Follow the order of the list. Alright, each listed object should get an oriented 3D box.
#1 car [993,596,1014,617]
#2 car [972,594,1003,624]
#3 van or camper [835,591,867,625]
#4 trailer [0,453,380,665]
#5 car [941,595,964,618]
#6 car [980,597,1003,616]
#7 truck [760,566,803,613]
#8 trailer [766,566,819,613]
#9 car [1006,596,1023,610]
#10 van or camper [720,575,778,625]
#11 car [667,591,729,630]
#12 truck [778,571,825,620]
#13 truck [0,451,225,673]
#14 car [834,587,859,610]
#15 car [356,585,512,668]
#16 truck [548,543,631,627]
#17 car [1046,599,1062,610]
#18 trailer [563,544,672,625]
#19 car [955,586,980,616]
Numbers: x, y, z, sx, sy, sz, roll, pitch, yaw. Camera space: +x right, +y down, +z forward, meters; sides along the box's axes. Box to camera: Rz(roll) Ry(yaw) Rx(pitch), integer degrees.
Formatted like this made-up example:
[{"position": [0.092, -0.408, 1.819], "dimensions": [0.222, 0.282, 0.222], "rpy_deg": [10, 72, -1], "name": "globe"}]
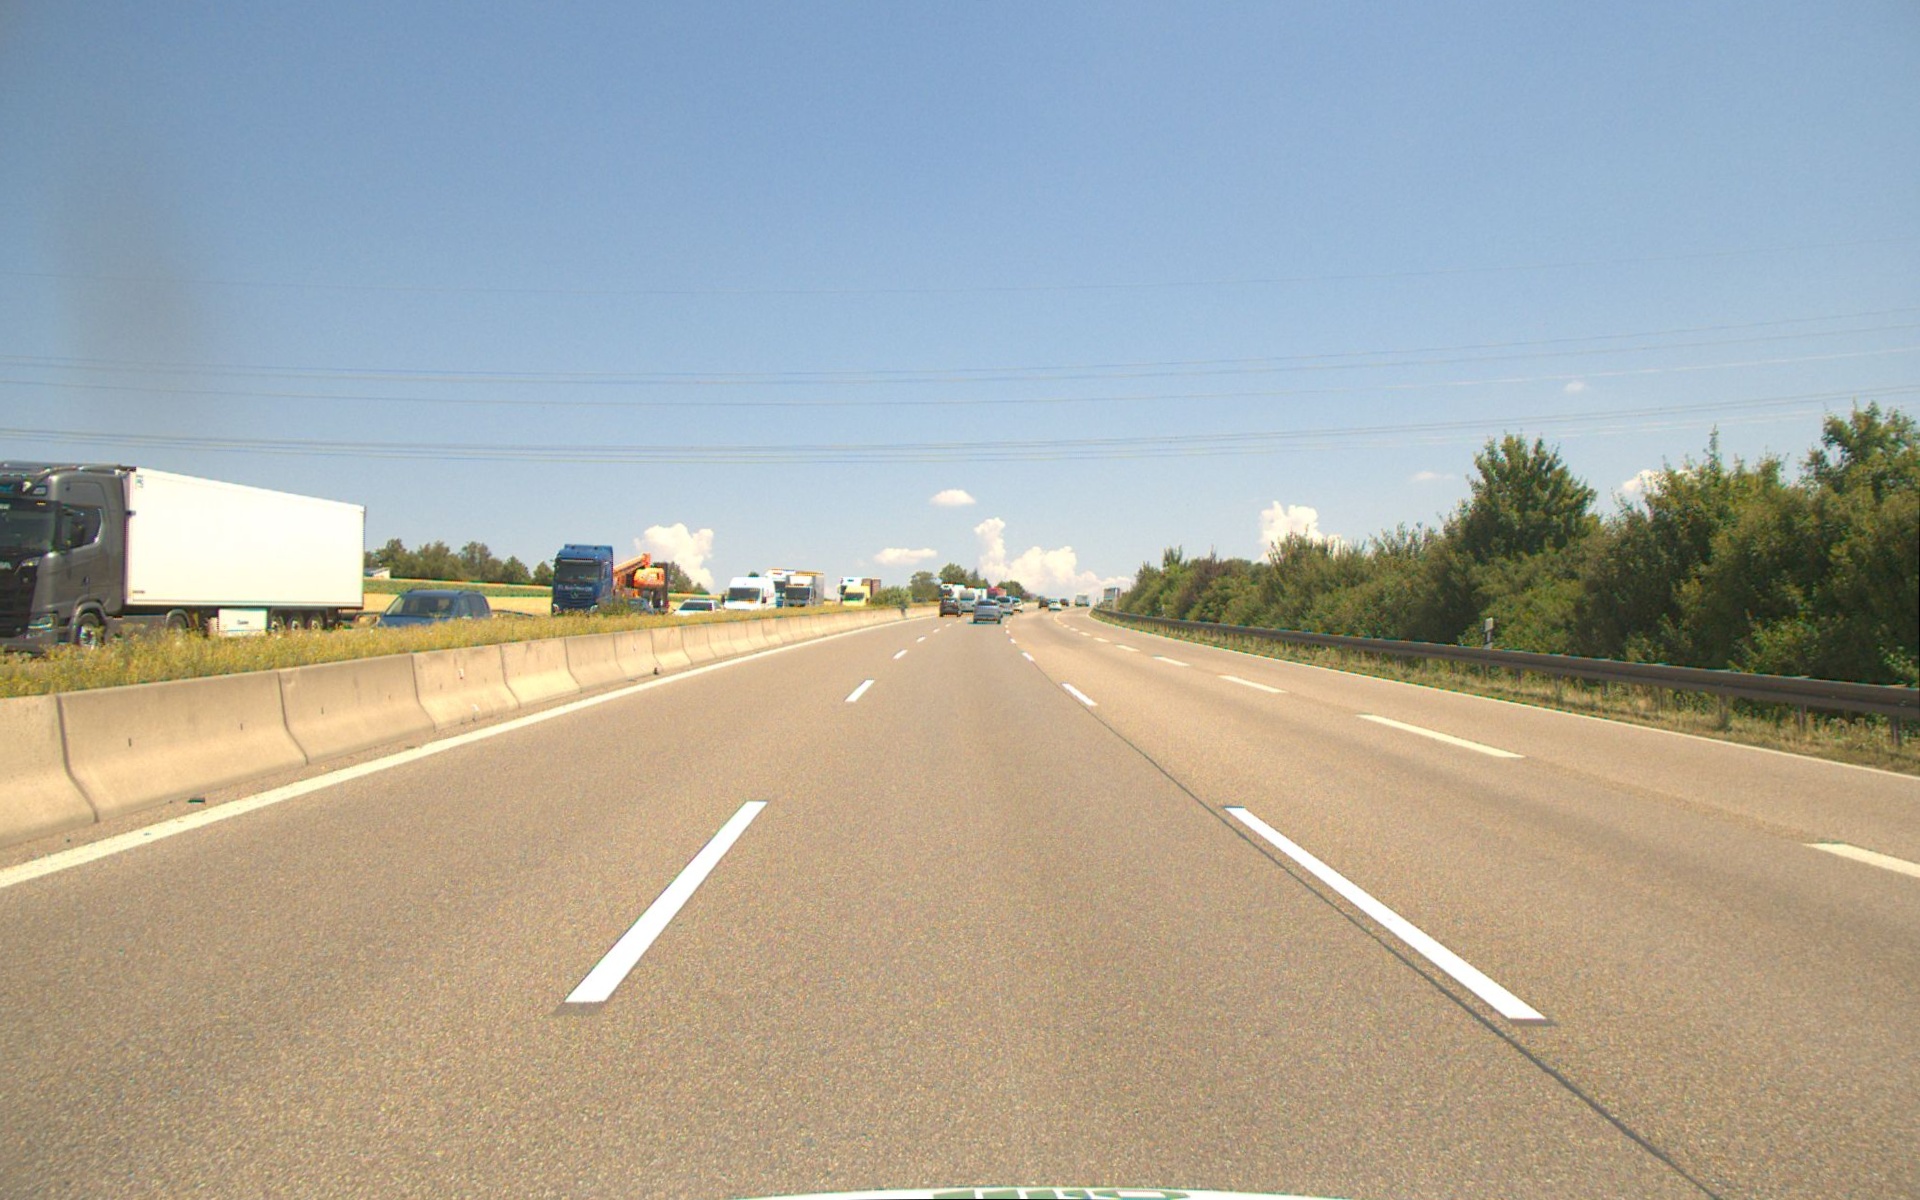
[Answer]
[{"position": [4.375, 0.654, 165.852], "dimensions": [1.952, 1.937, 4.001], "rpy_deg": [0, -3, 3], "name": "car"}, {"position": [1.804, 0.609, 108.658], "dimensions": [1.952, 1.781, 3.999], "rpy_deg": [1, -3, 1], "name": "car"}, {"position": [-9.217, 0.638, 139.963], "dimensions": [2.041, 2.755, 6.140], "rpy_deg": [1, 0, 2], "name": "van or camper"}, {"position": [-18.981, -0.886, 42.442], "dimensions": [3.175, 4.464, 14.027], "rpy_deg": [1, 0, 0], "name": "trailer"}, {"position": [-0.657, 0.527, 144.778], "dimensions": [1.809, 1.893, 4.206], "rpy_deg": [1, 1, 1], "name": "car"}, {"position": [2.726, 0.598, 144.992], "dimensions": [1.953, 1.613, 3.999], "rpy_deg": [0, -1, 0], "name": "car"}, {"position": [-16.034, -0.940, 148.834], "dimensions": [2.793, 4.098, 6.517], "rpy_deg": [1, 0, 3], "name": "truck"}, {"position": [-15.638, -0.934, 155.254], "dimensions": [2.735, 4.177, 14.012], "rpy_deg": [1, 0, 3], "name": "trailer"}, {"position": [6.587, 0.384, 200.729], "dimensions": [1.952, 1.579, 4.002], "rpy_deg": [2, 0, 3], "name": "car"}, {"position": [-11.006, 0.025, 86.908], "dimensions": [2.025, 2.507, 7.519], "rpy_deg": [-1, 0, 0], "name": "van or camper"}, {"position": [-11.553, 0.442, 73.196], "dimensions": [1.887, 1.615, 5.668], "rpy_deg": [1, 0, -1], "name": "car"}, {"position": [-12.853, -0.371, 134.891], "dimensions": [2.875, 3.809, 7.780], "rpy_deg": [1, 0, 1], "name": "truck"}, {"position": [-18.965, -0.756, 35.504], "dimensions": [3.160, 4.280, 7.126], "rpy_deg": [1, 0, 0], "name": "truck"}, {"position": [-13.528, -0.183, 197.838], "dimensions": [2.282, 2.602, 5.608], "rpy_deg": [1, 1, 3], "name": "car"}, {"position": [-11.622, 0.544, 36.922], "dimensions": [1.953, 1.696, 4.963], "rpy_deg": [1, 0, -1], "name": "car"}, {"position": [-18.511, -0.744, 83.033], "dimensions": [2.719, 4.007, 6.138], "rpy_deg": [1, 0, 0], "name": "truck"}, {"position": [13.090, 0.636, 230.250], "dimensions": [1.861, 1.467, 4.003], "rpy_deg": [1, 0, 6], "name": "car"}, {"position": [-18.393, -0.746, 89.934], "dimensions": [2.780, 4.027, 13.729], "rpy_deg": [1, 0, 1], "name": "trailer"}, {"position": [0.746, 0.113, 165.711], "dimensions": [2.134, 2.671, 4.674], "rpy_deg": [1, -3, 4], "name": "car"}]
